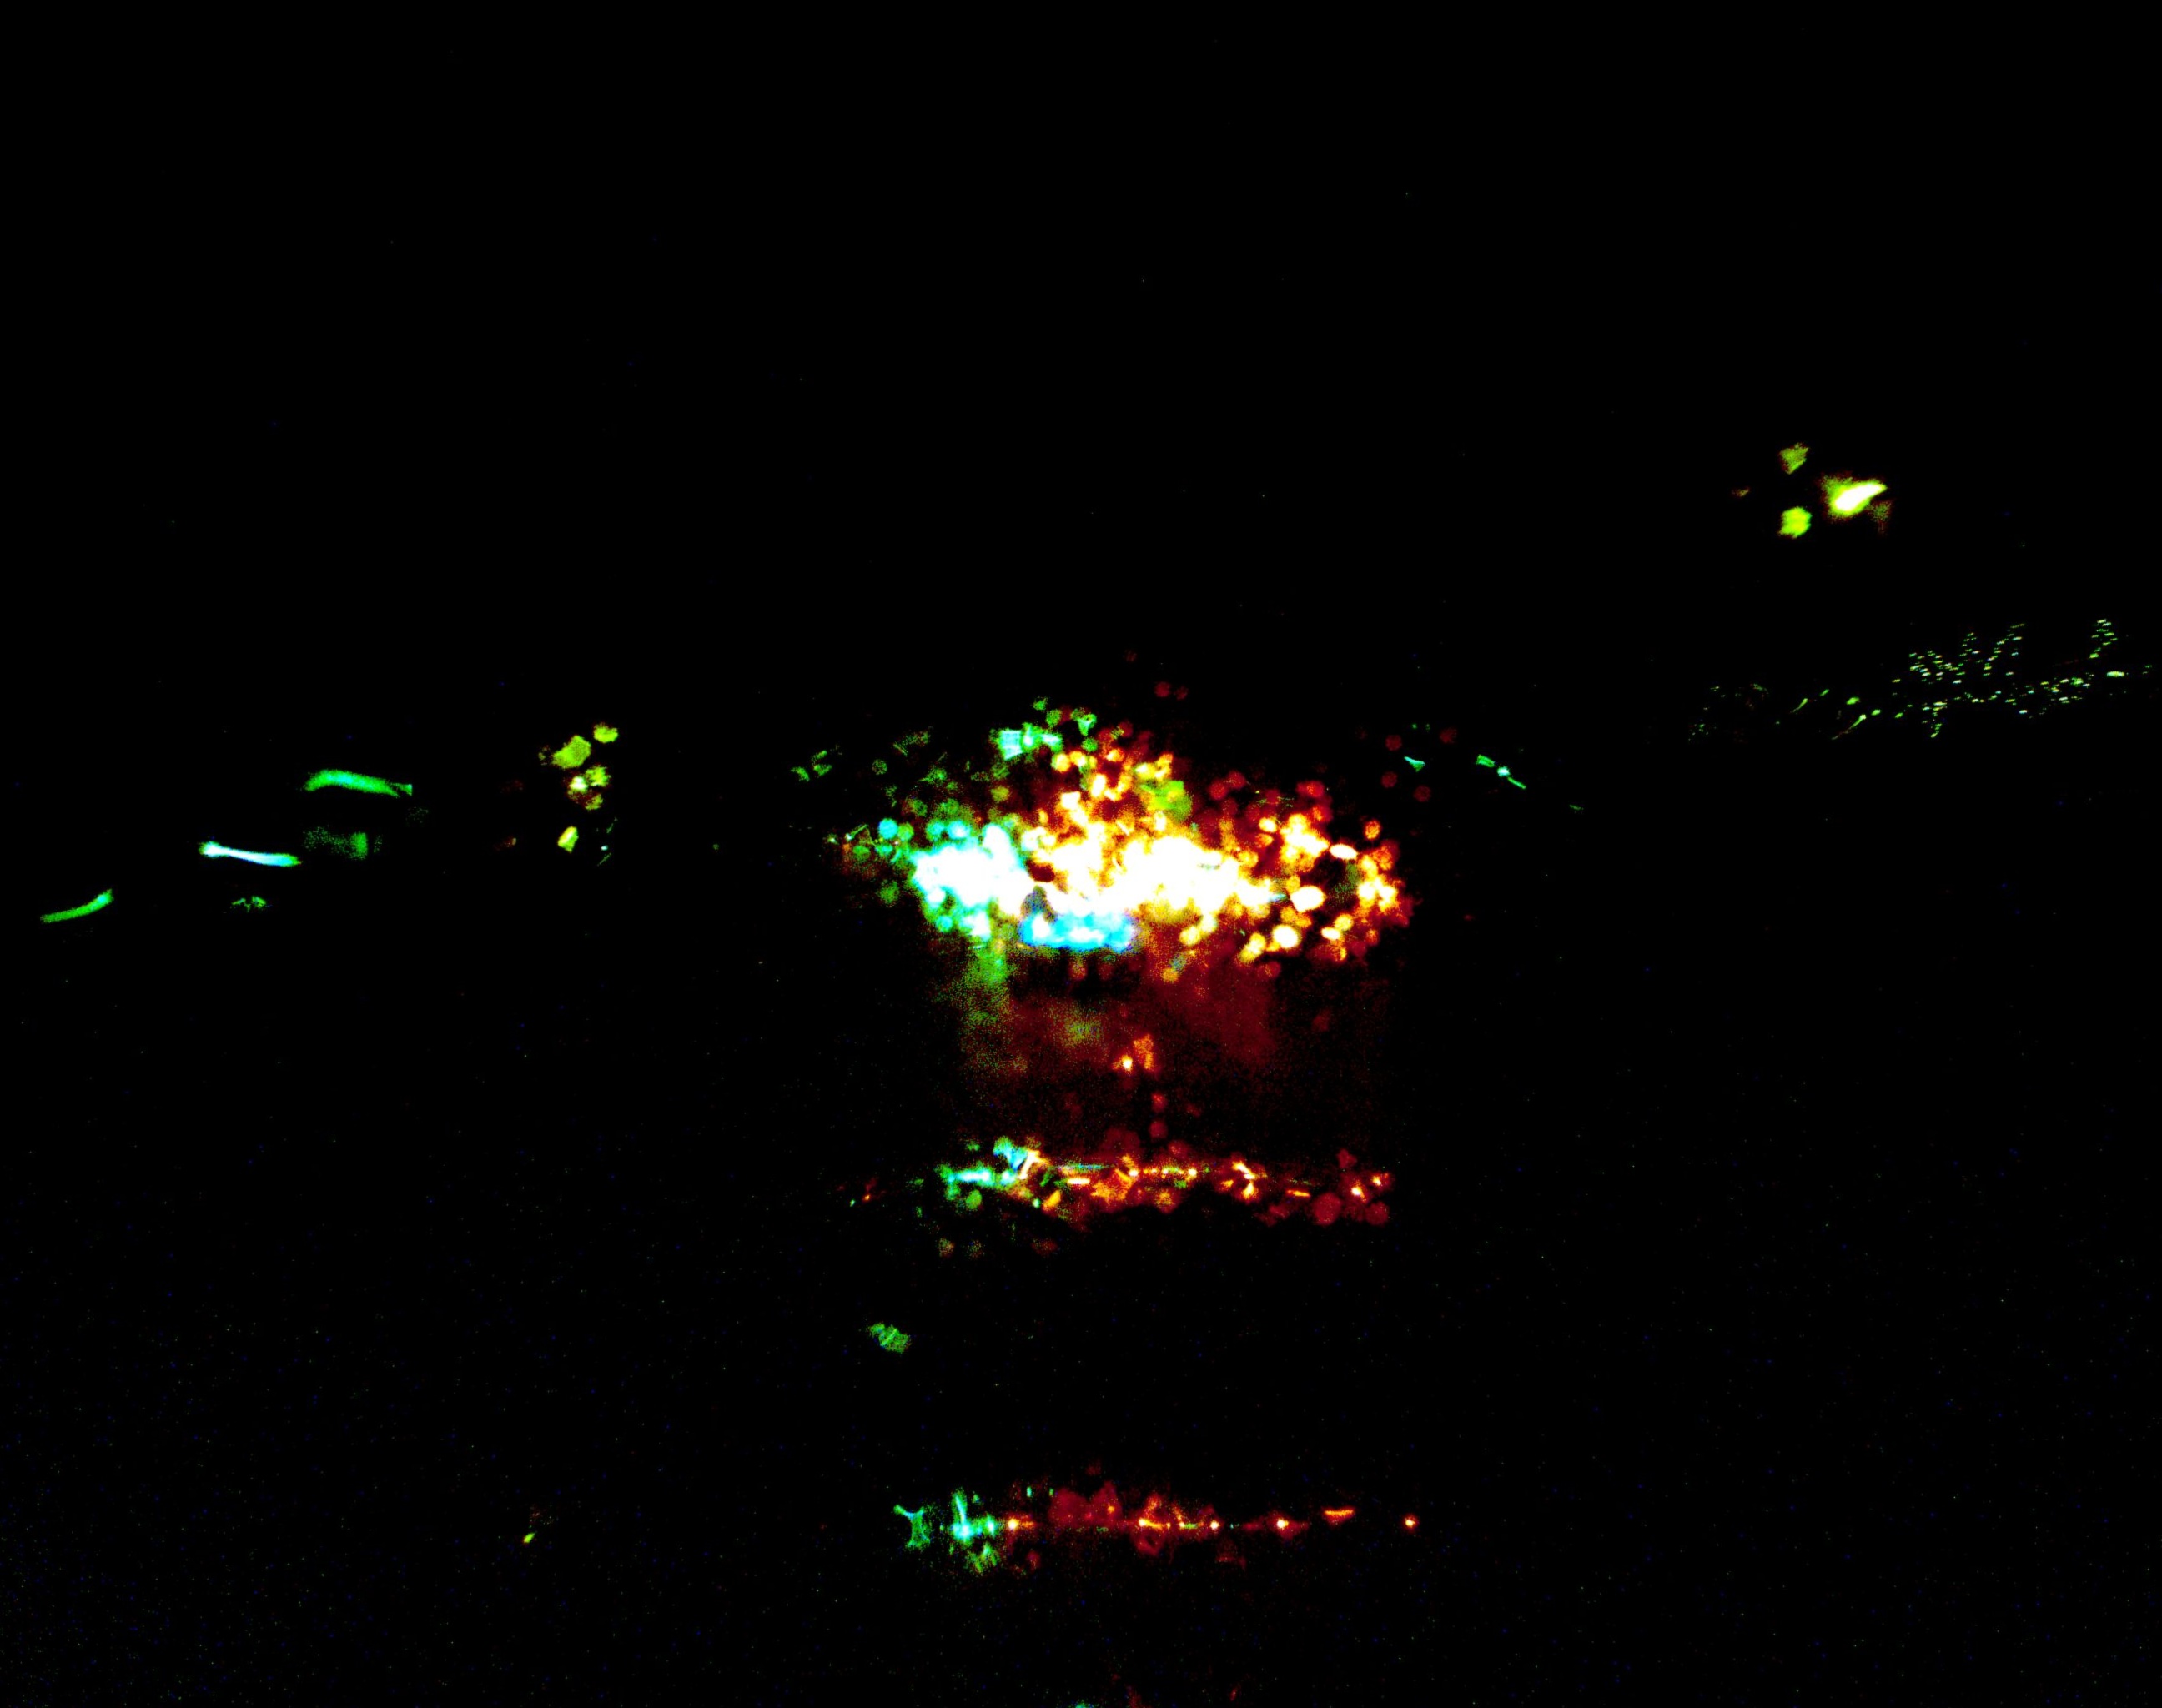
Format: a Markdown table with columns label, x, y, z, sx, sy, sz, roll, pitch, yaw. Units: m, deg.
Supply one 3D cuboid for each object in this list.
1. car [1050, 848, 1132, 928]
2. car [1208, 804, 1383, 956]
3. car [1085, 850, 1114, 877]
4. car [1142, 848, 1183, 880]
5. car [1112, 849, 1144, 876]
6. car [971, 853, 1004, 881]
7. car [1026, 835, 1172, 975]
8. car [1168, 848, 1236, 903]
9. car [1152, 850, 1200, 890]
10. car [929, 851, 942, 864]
| label | x | y | z | sx | sy | sz | roll | pitch | yaw |
| --- | --- | --- | --- | --- | --- | --- | --- | --- | --- |
| car | 0.288 | 0.720 | 19.438 | 1.702 | 1.638 | 3.732 | -3 | 0 | 2 |
| car | 3.140 | 0.326 | 12.808 | 1.933 | 1.972 | 4.223 | -1 | 0 | 4 |
| car | 1.193 | 0.583 | 53.686 | 1.704 | 1.638 | 3.728 | -3 | 0 | -2 |
| car | 3.906 | 0.444 | 39.340 | 1.657 | 1.450 | 4.051 | -1 | 1 | 1 |
| car | 2.655 | 0.489 | 46.323 | 1.657 | 1.450 | 4.051 | -1 | 0 | 1 |
| car | -6.746 | 0.931 | 59.314 | 1.989 | 1.912 | 4.738 | -1 | 0 | -3 |
| car | 0.272 | 0.606 | 11.486 | 1.688 | 1.630 | 3.854 | -1 | 0 | 2 |
| car | 3.560 | 0.578 | 24.488 | 1.759 | 1.450 | 4.224 | -1 | 1 | 5 |
| car | 3.759 | 0.607 | 32.765 | 1.656 | 1.450 | 4.054 | -2 | 0 | 4 |
| car | -23.862 | 0.566 | 133.976 | 1.993 | 1.912 | 4.728 | -1 | 0 | -9 |
